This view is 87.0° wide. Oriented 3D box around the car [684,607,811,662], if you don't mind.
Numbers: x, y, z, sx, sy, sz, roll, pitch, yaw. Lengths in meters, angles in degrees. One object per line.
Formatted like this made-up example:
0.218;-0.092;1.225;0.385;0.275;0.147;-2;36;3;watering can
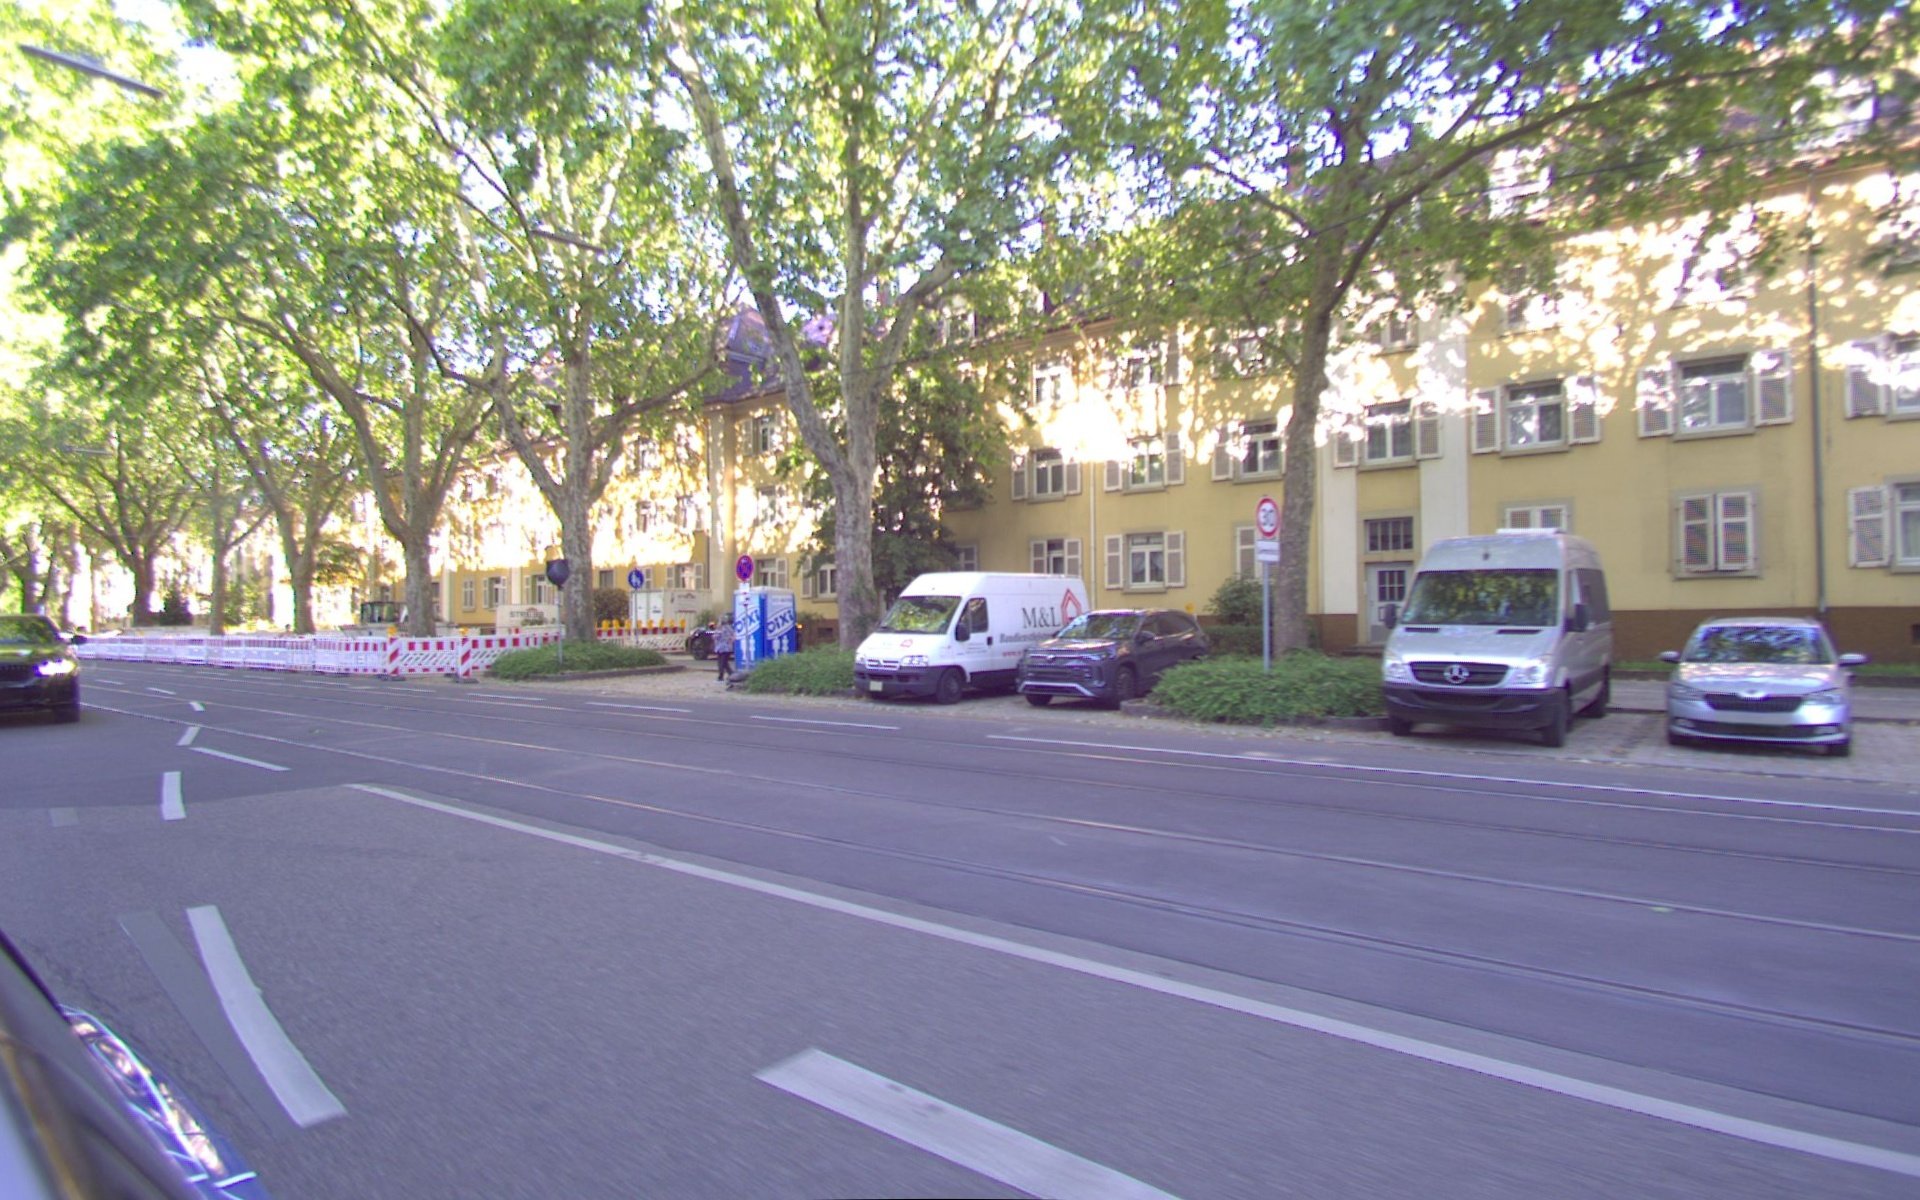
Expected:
-6.853;1.091;32.437;4.219;1.613;1.806;-2;0;41;car

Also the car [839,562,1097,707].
0.343;0.626;19.585;2.023;2.393;5.542;-2;-2;38;car

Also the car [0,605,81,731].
-15.076;1.015;15.756;1.915;1.756;4.479;-1;-1;-43;car

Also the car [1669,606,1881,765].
9.795;0.866;12.166;1.729;1.481;4.102;0;1;40;car

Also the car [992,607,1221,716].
2.690;0.960;17.658;1.967;1.643;4.519;-2;-1;38;car

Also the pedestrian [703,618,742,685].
-5.733;1.231;24.478;0.712;1.585;0.592;-1;-2;22;pedestrian

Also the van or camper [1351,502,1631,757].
7.448;0.314;13.758;2.227;2.697;6.051;-2;-1;39;van or camper

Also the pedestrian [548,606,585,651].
-17.900;1.297;46.074;1.233;2.029;1.085;-1;-2;36;pedestrian
